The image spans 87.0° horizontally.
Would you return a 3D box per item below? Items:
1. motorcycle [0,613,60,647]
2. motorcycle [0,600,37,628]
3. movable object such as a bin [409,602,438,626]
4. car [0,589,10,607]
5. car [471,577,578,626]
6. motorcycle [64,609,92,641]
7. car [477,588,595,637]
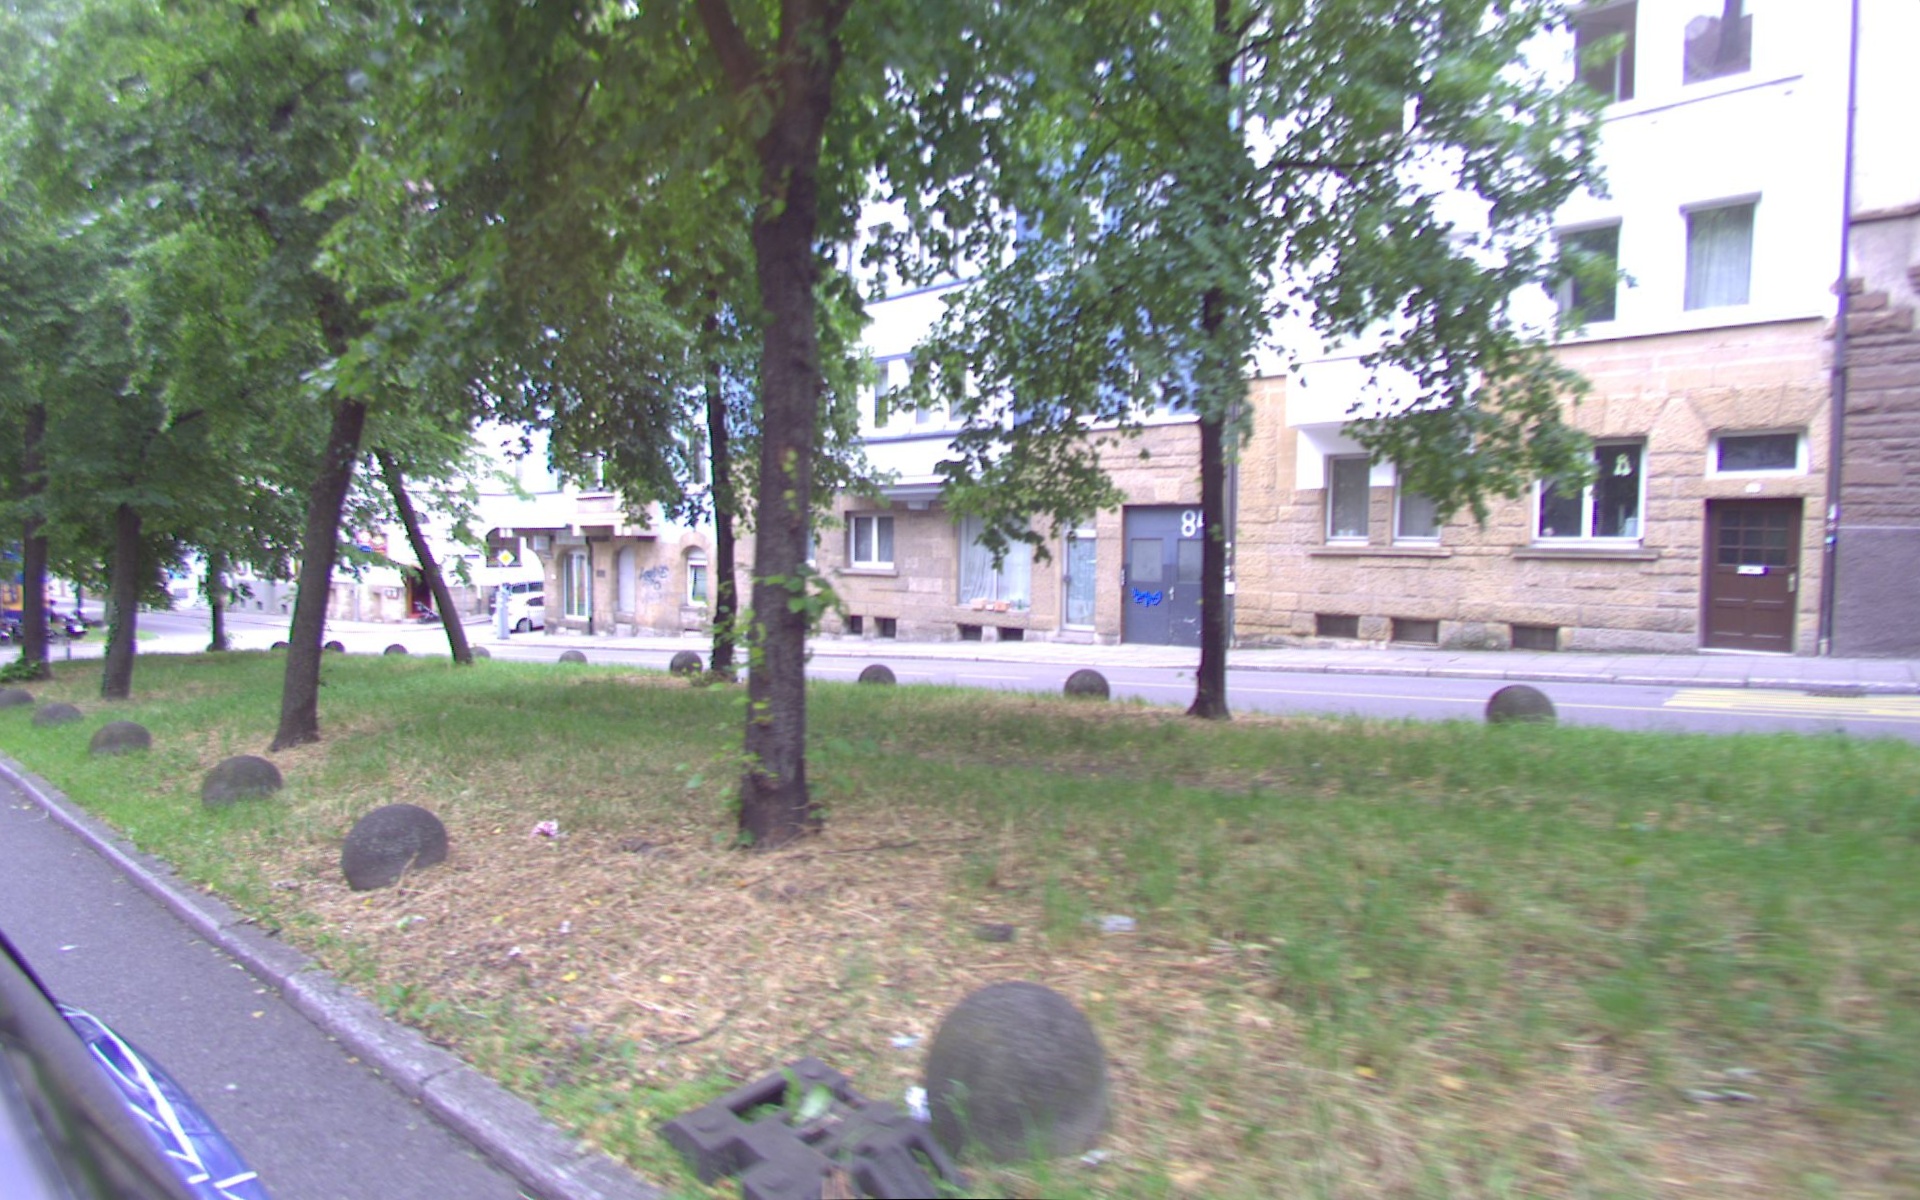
[{"bbox_3d":[-33.503,1.061,36.341,0.551,1.104,1.712,3,4,44],"label":"motorcycle"},{"bbox_3d":[-53.907,0.783,57.268,0.963,1.494,2.393,3,3,41],"label":"motorcycle"},{"bbox_3d":[-23.934,0.635,45.148,0.667,1.000,0.877,0,4,39],"label":"movable object such as a bin"},{"bbox_3d":[-88.992,-0.167,93.144,4.252,1.575,1.795,0,2,41],"label":"car"},{"bbox_3d":[-19.697,0.037,45.880,1.871,1.711,3.958,1,7,41],"label":"car"},{"bbox_3d":[-33.682,0.937,38.632,0.740,1.081,1.854,-3,4,-42],"label":"motorcycle"},{"bbox_3d":[-17.279,0.456,41.356,1.869,1.480,3.961,2,8,38],"label":"car"}]
